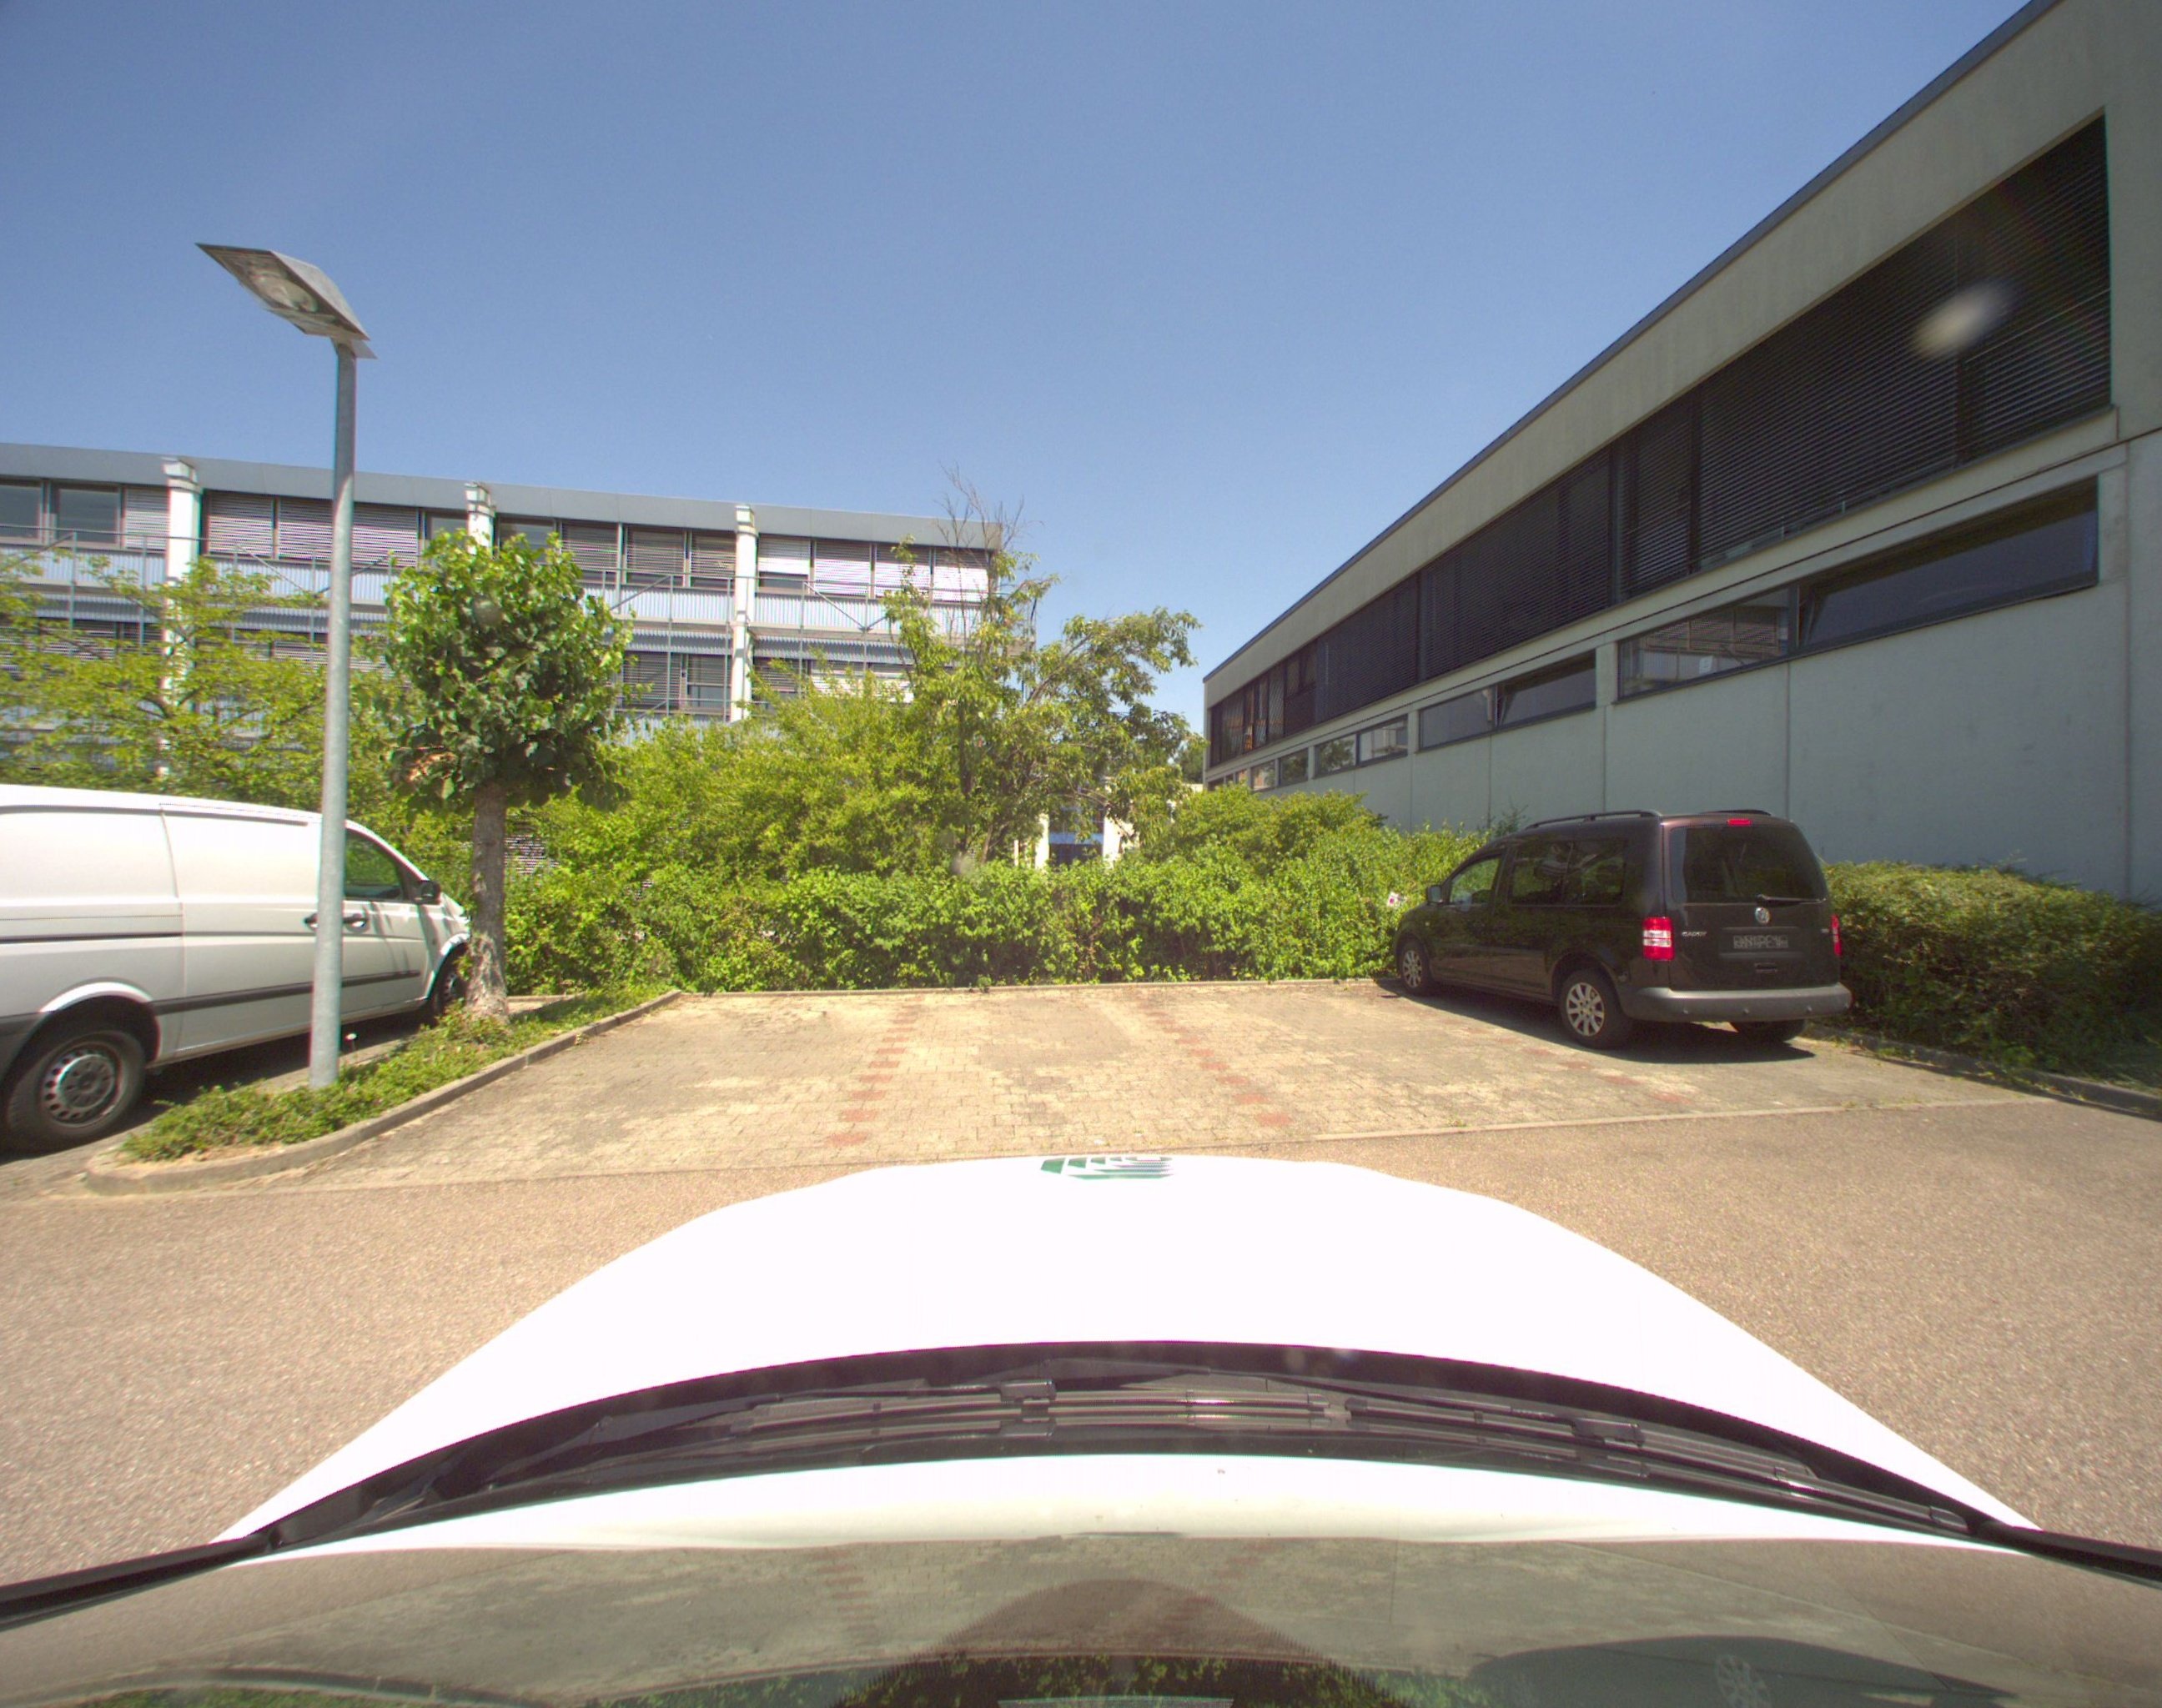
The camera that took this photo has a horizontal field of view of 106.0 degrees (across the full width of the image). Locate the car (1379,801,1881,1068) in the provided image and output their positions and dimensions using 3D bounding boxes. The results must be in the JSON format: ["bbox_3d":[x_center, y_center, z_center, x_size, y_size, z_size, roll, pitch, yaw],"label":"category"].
[{"bbox_3d":[4.639,0.574,7.730,1.742,1.837,3.989,0,-1,-8],"label":"car"}]

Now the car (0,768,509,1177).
[{"bbox_3d":[-6.271,0.561,5.562,1.912,1.905,4.793,0,0,-9],"label":"car"}]

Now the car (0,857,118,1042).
[{"bbox_3d":[-9.224,0.764,5.401,1.758,1.476,3.977,0,0,-17],"label":"car"}]
